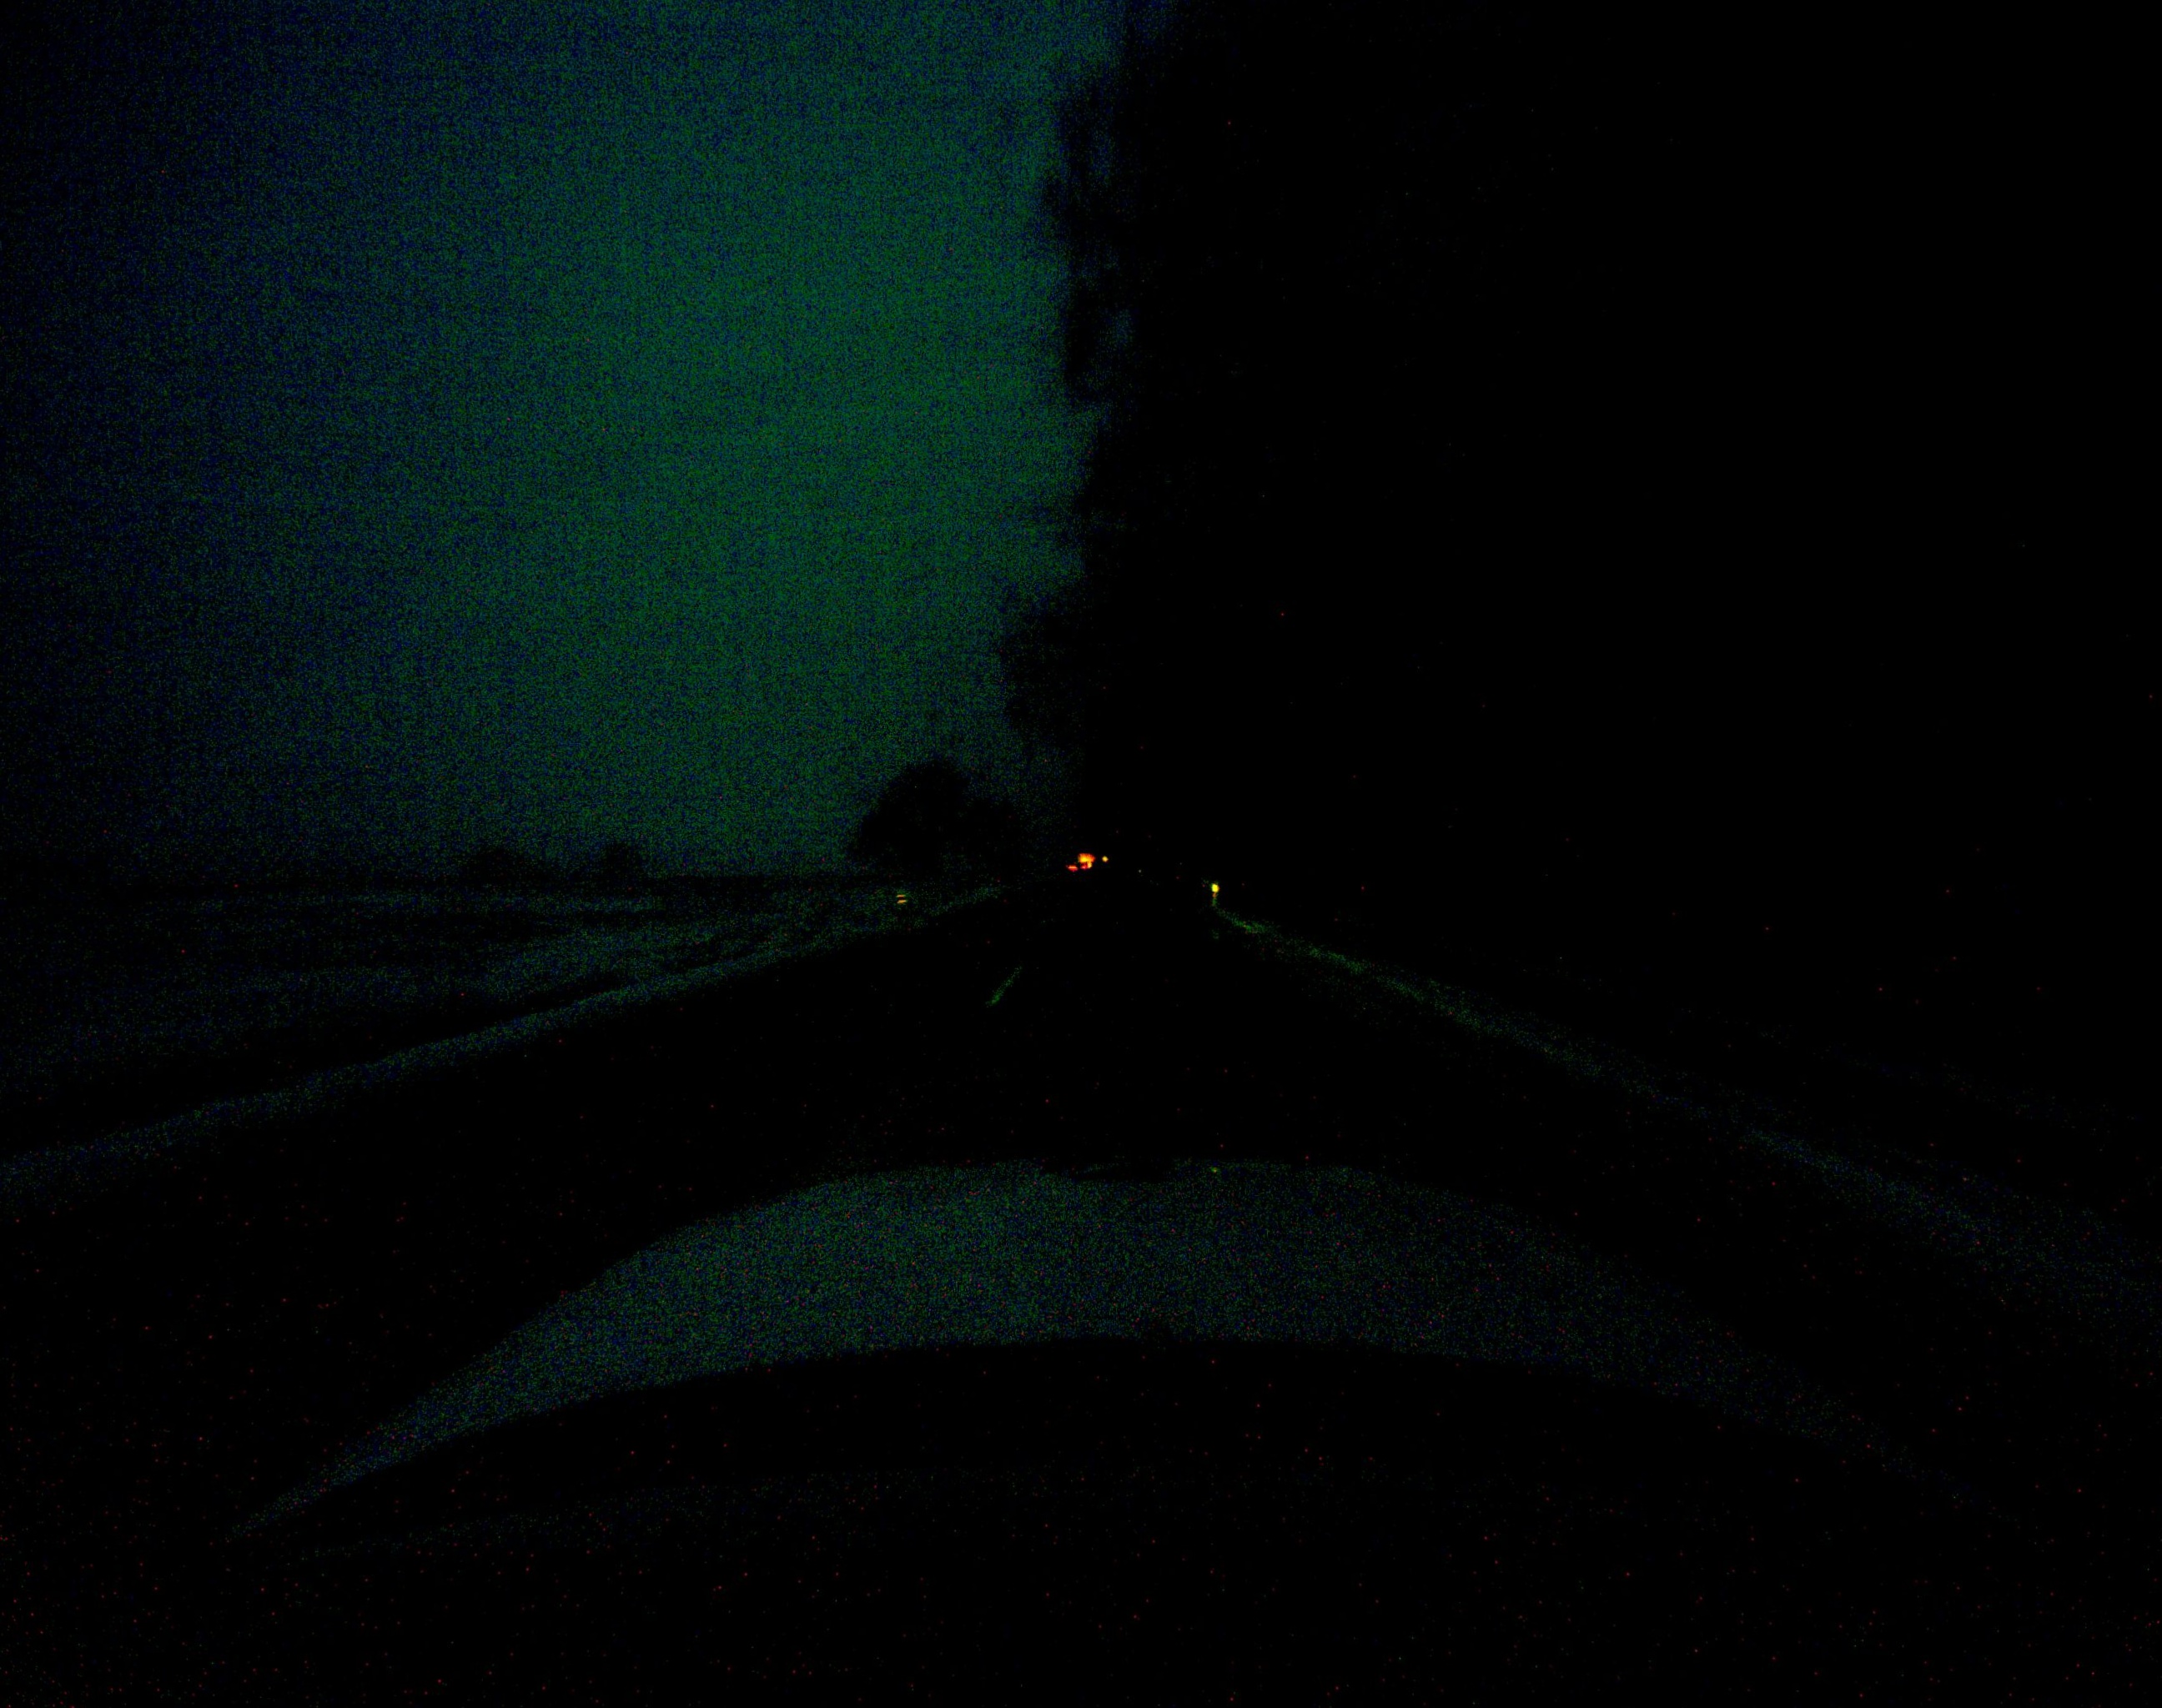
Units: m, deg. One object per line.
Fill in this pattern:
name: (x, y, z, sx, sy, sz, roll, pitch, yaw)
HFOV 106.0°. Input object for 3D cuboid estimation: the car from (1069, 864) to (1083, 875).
car: (-0.716, 2.282, 121.102, 1.987, 1.420, 4.000, -3, 0, 0)
